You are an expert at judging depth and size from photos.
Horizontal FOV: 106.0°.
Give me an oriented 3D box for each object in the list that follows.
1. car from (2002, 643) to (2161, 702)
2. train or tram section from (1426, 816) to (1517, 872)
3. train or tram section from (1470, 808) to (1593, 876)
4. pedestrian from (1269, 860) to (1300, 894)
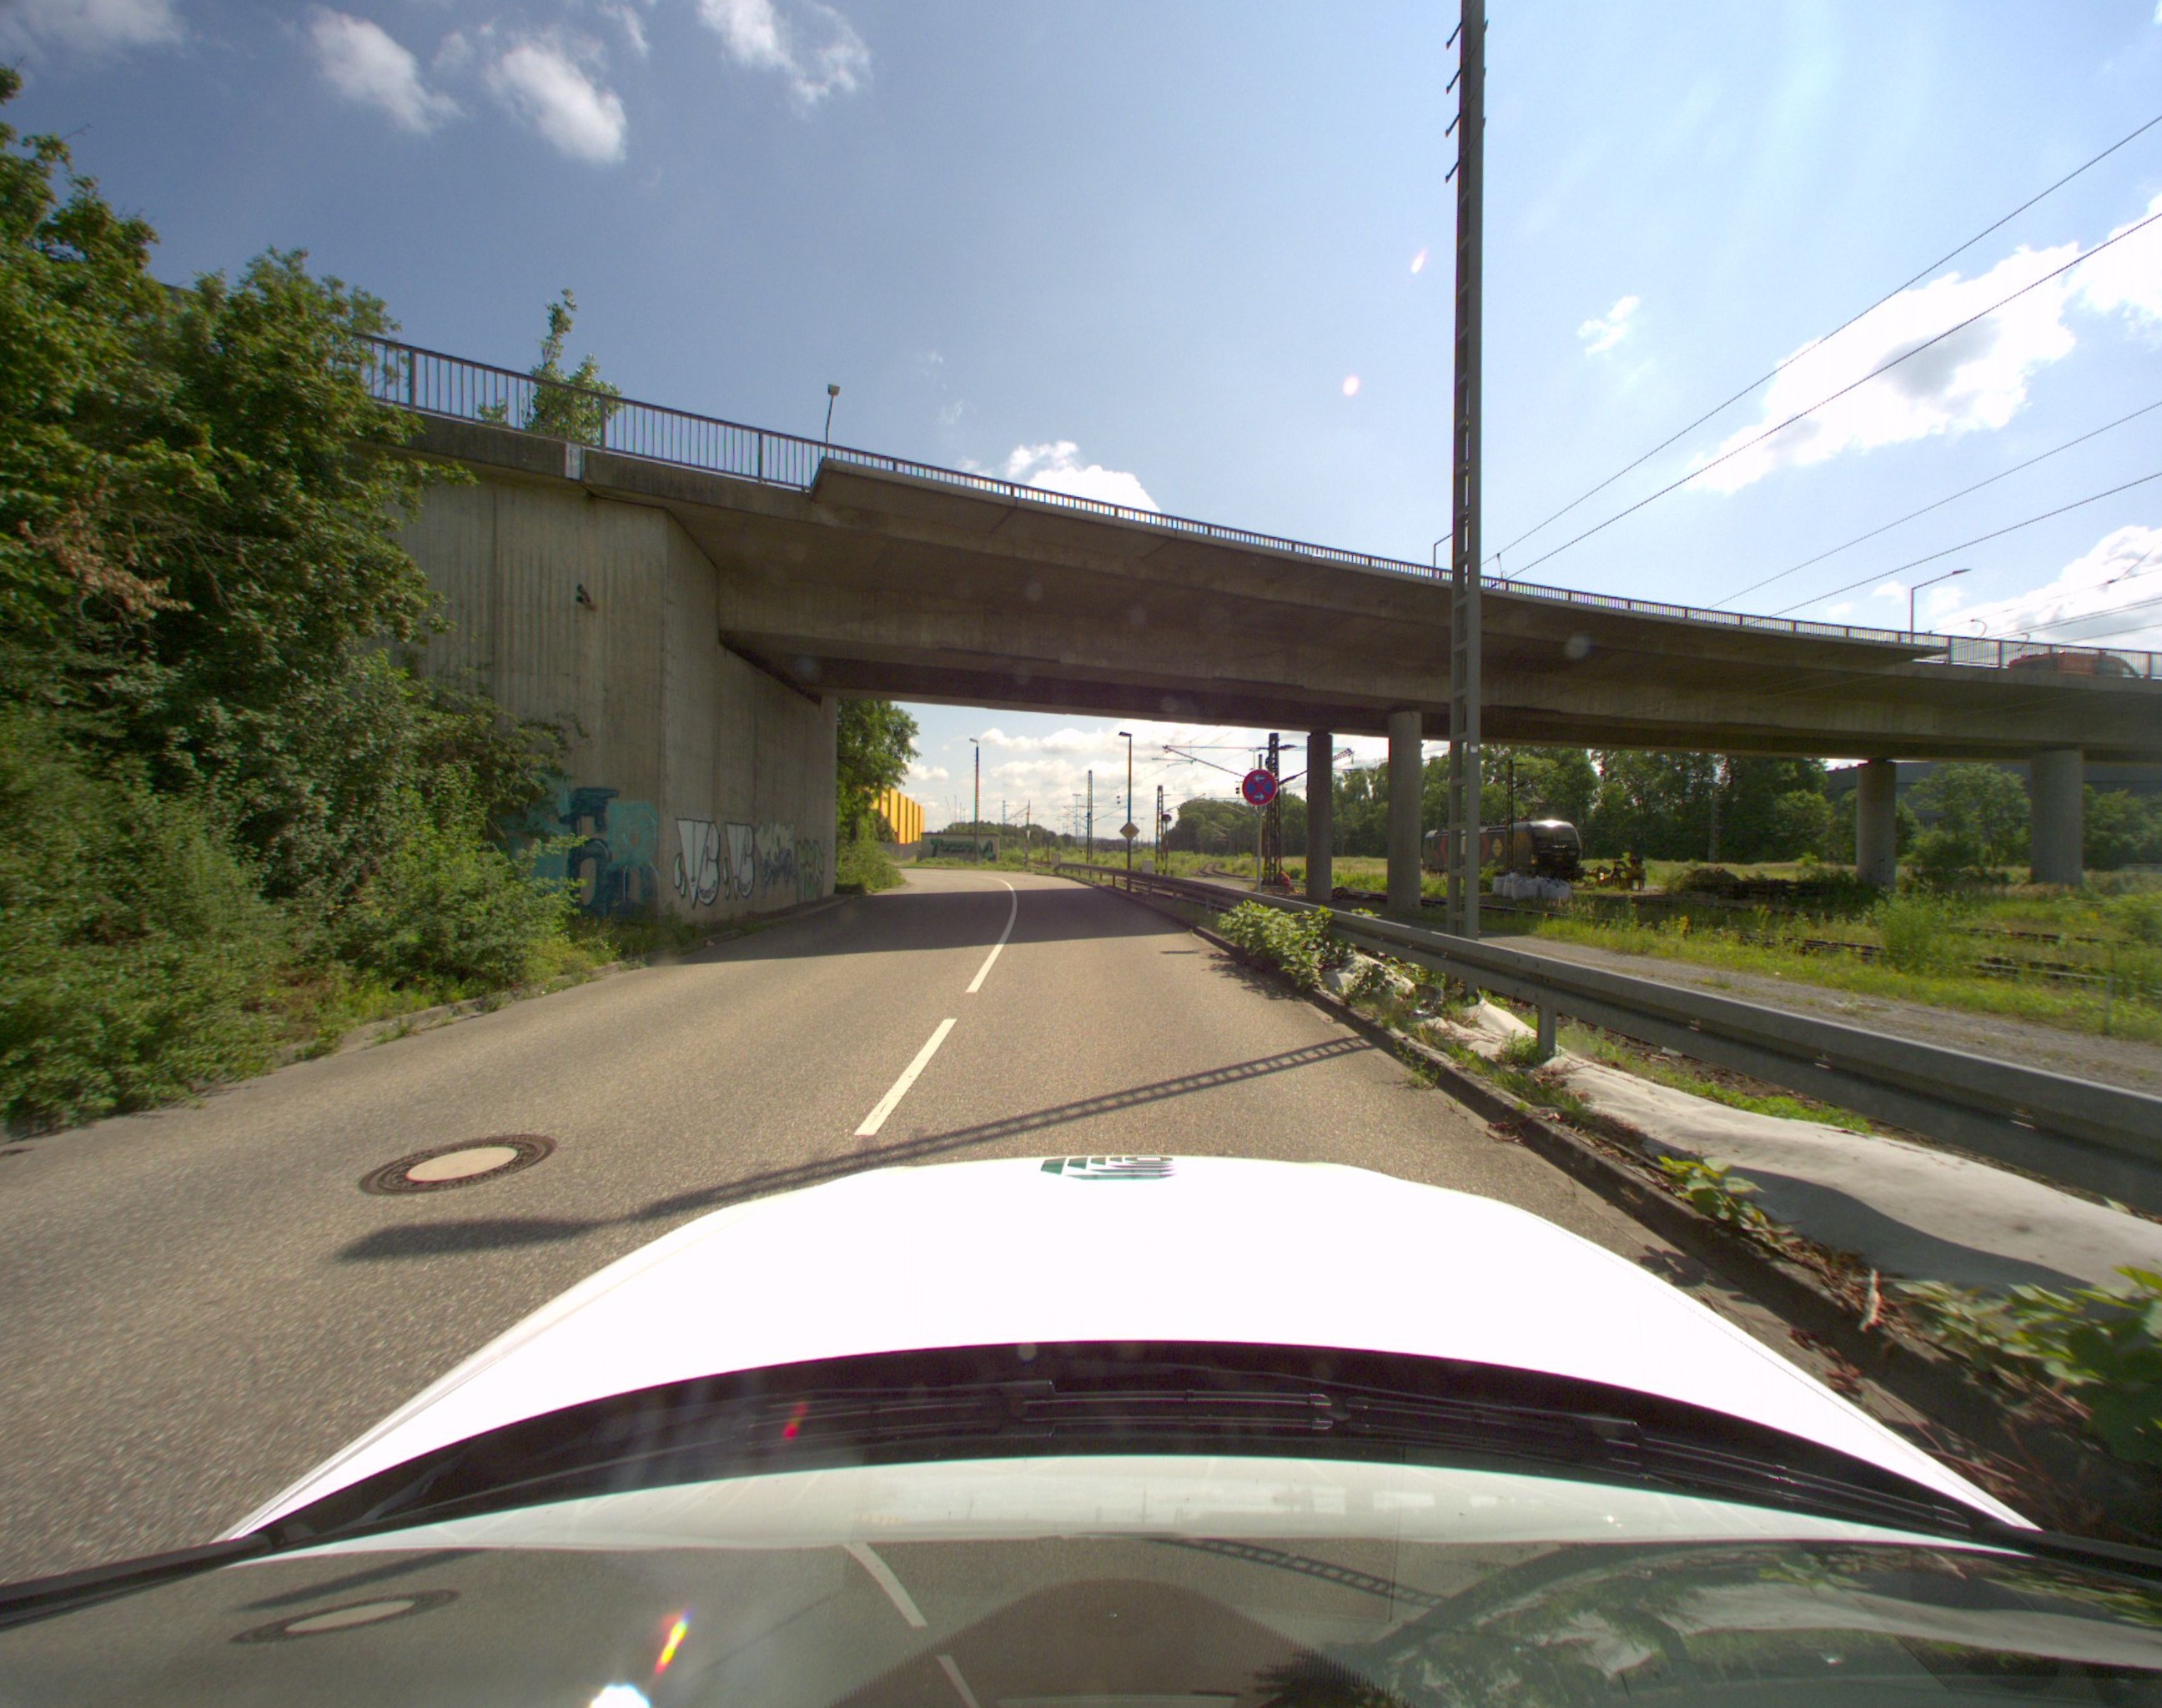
[{"bbox_3d":[43.751,-7.899,35.652,5.319,2.014,1.993,-2,-1,-10],"label":"car"},{"bbox_3d":[26.086,-0.575,54.916,2.743,3.477,8.249,0,0,4],"label":"train or tram section"},{"bbox_3d":[25.394,-0.589,46.542,2.877,3.509,8.575,0,0,4],"label":"train or tram section"},{"bbox_3d":[9.444,1.071,37.811,1.106,1.540,1.580,0,-1,1],"label":"pedestrian"}]
